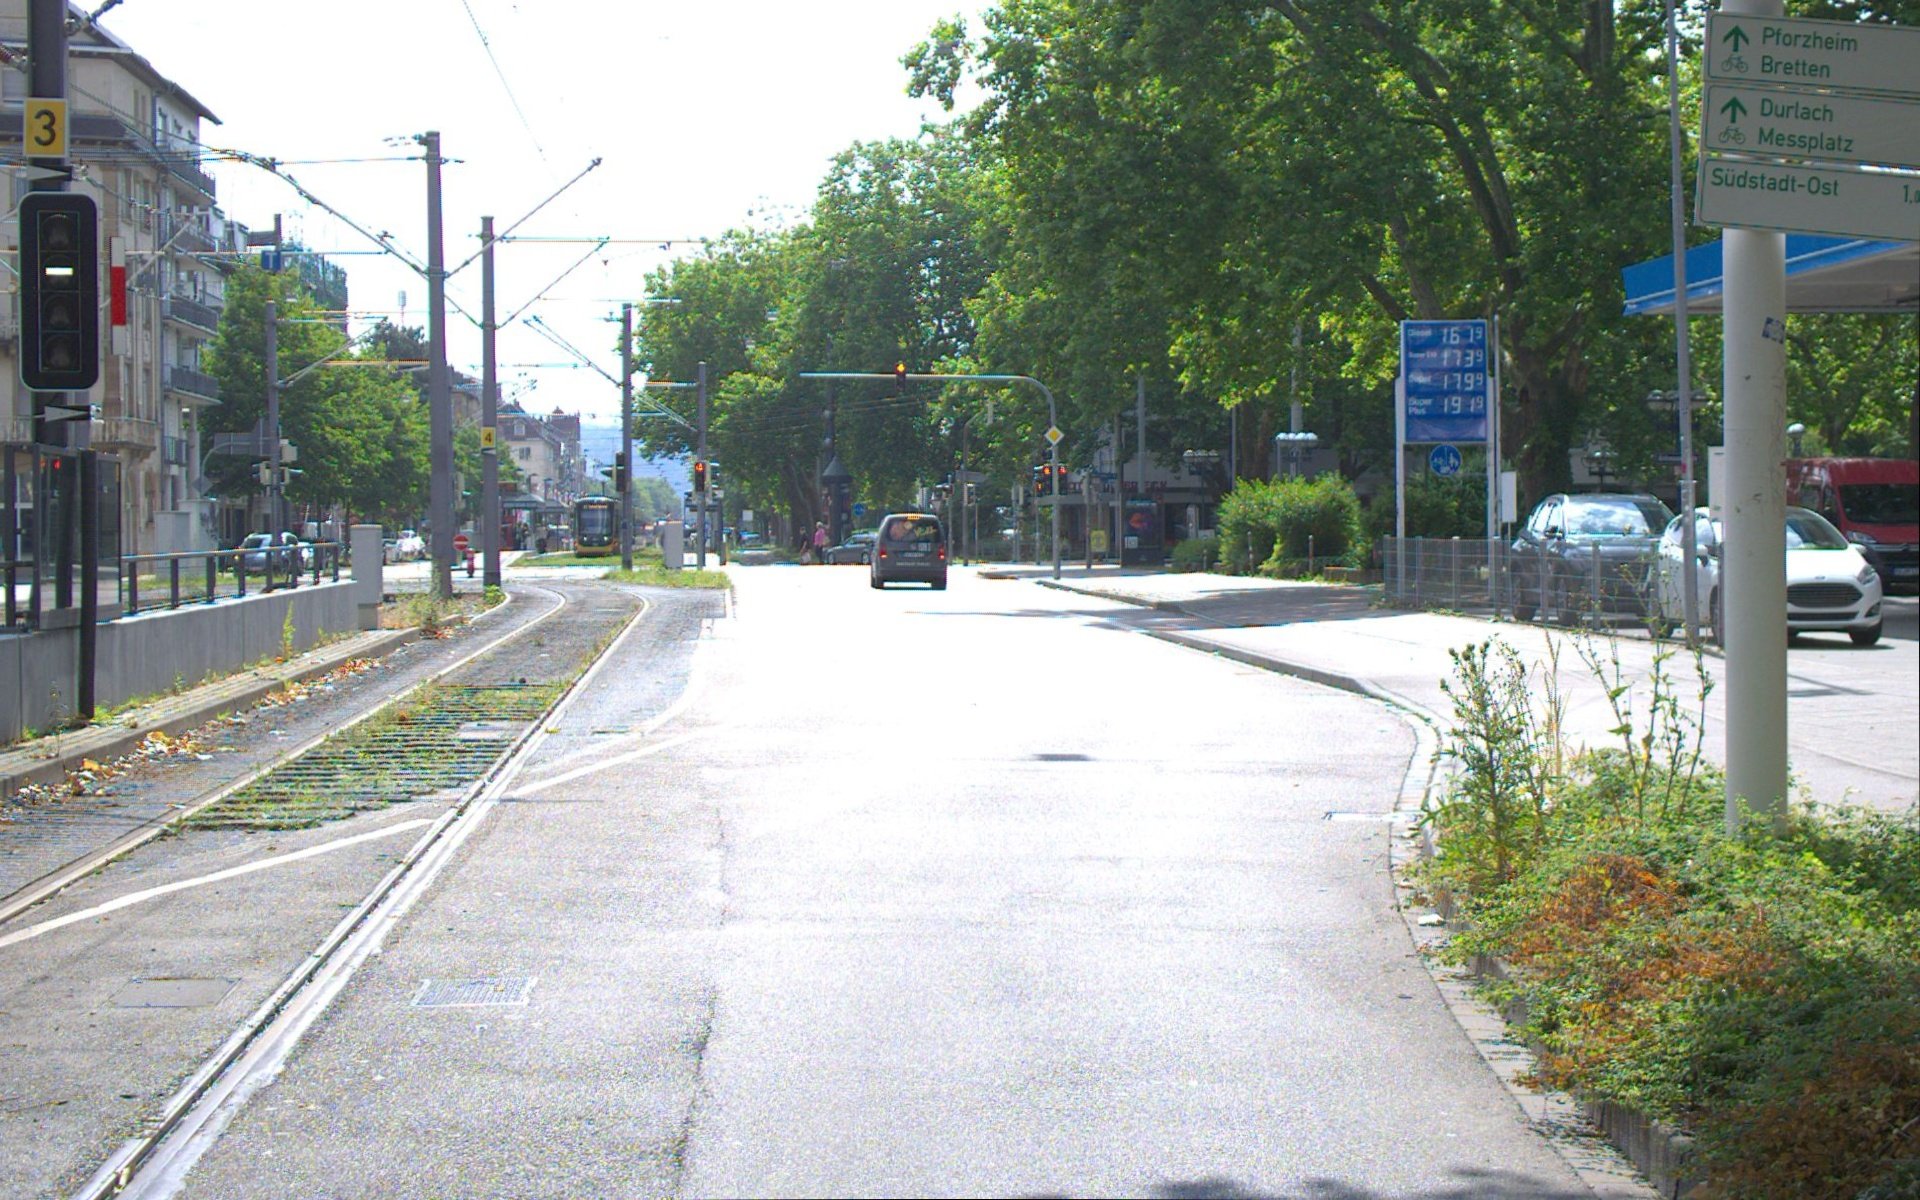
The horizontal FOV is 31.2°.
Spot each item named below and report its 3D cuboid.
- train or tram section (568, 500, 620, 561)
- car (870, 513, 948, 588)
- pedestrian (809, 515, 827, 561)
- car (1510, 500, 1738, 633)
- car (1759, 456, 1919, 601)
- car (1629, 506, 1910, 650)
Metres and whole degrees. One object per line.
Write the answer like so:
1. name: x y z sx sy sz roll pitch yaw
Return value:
1. train or tram section: -20.851 -3.968 196.401 2.240 3.320 12.973 -1 1 -3
2. car: -1.273 -1.229 84.742 1.750 1.802 3.475 1 1 -3
3. pedestrian: -5.557 -2.415 134.234 0.659 1.778 0.660 -1 1 -3
4. car: 8.324 -0.447 43.479 1.805 1.597 4.583 0 1 -3
5. car: 16.821 -1.354 64.375 2.111 2.573 6.020 -1 1 -2
6. car: 8.569 -0.261 36.714 1.805 1.450 4.002 0 1 -4
